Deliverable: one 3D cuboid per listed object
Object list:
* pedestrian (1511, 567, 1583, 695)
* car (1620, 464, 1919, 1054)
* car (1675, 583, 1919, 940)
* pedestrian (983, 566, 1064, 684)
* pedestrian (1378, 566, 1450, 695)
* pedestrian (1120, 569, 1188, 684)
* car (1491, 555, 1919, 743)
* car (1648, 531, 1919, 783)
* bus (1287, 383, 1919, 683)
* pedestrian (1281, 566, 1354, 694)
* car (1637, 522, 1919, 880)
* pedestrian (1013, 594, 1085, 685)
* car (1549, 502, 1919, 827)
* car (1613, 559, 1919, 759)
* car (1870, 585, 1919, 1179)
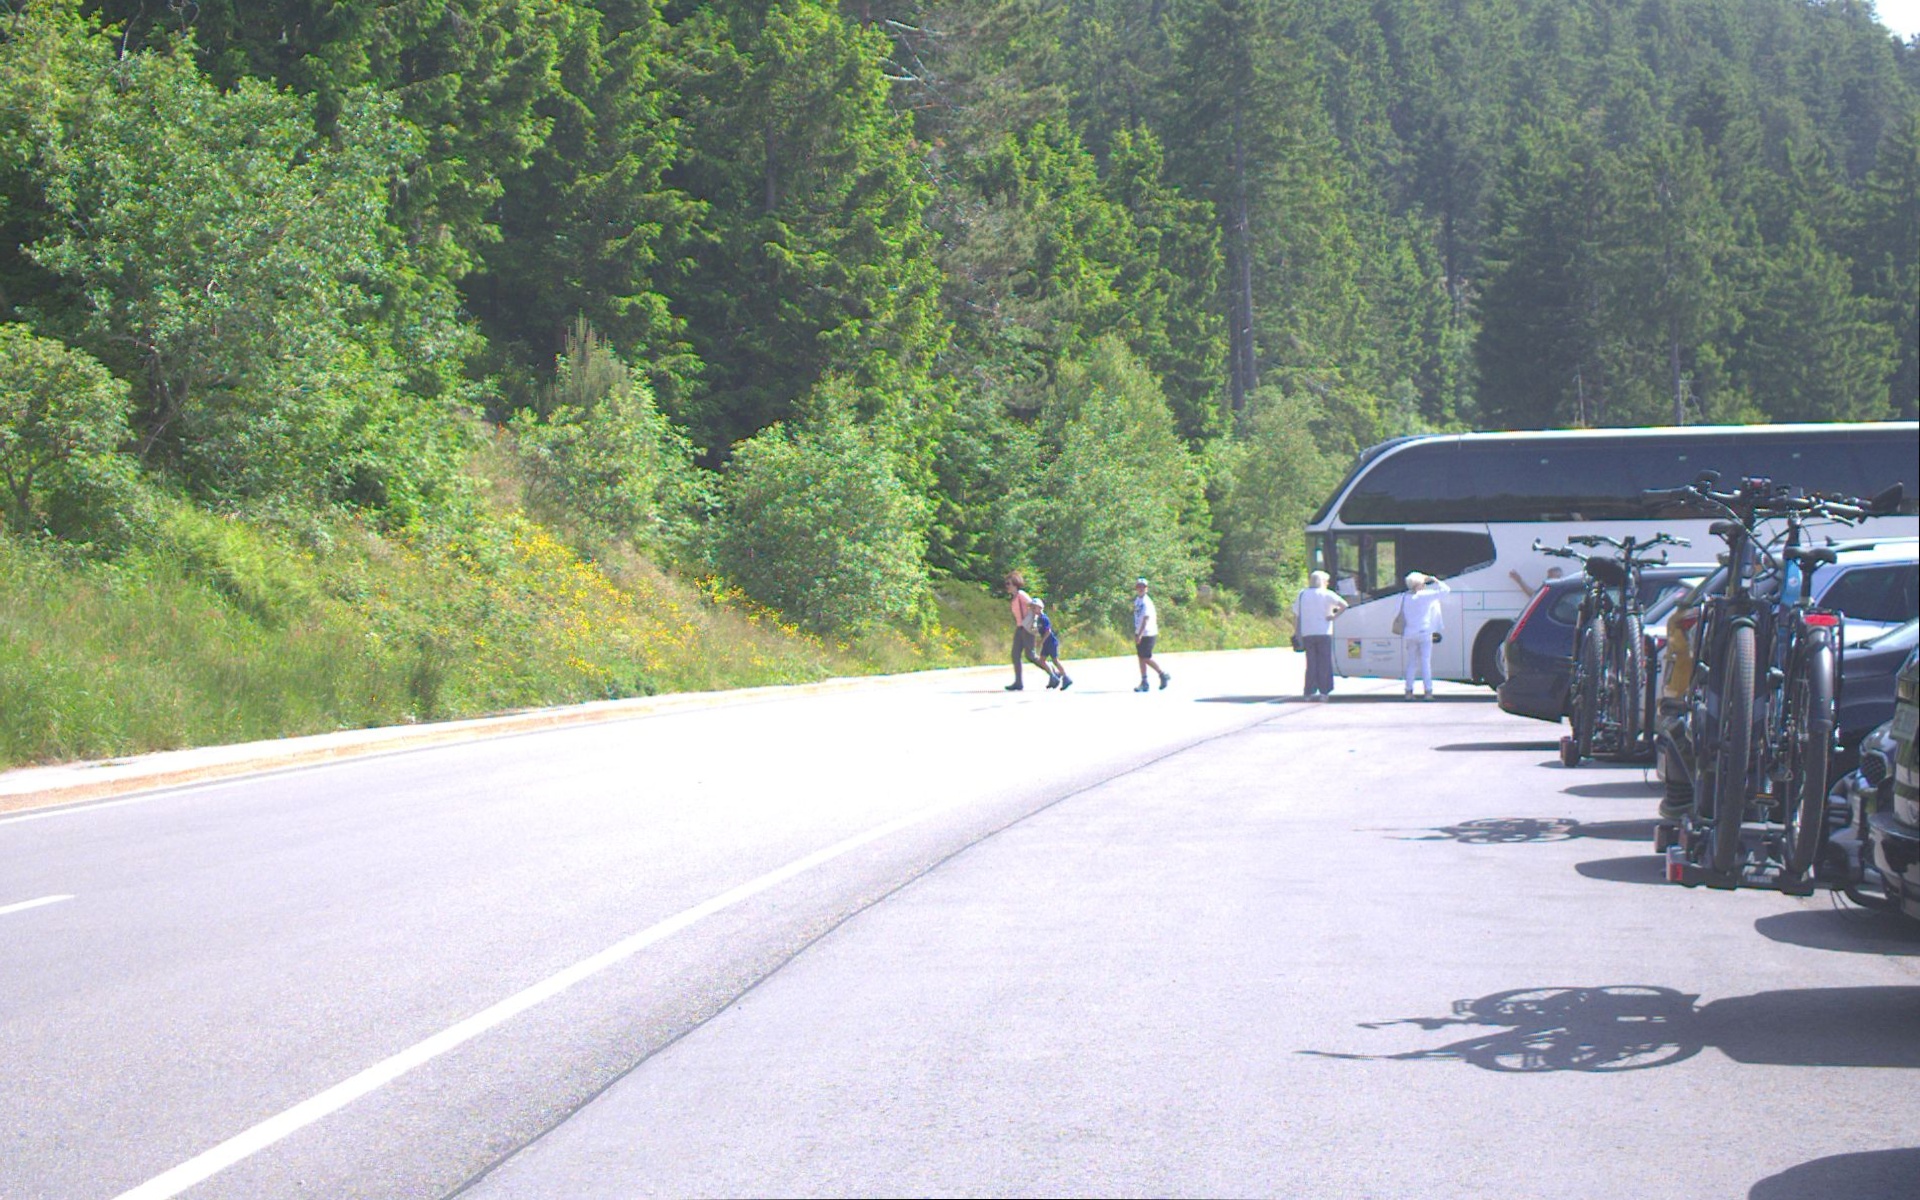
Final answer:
[{"bbox_3d":[7.376,0.383,43.165,0.770,1.579,0.772,-2,0,15],"label":"pedestrian"},{"bbox_3d":[4.583,0.407,10.519,4.951,1.690,1.944,-1,1,9],"label":"car"},{"bbox_3d":[5.001,0.539,13.215,4.245,1.264,1.837,-2,0,7],"label":"car"},{"bbox_3d":[0.930,0.362,50.395,0.853,1.677,0.870,-2,0,-23],"label":"pedestrian"},{"bbox_3d":[5.693,0.377,43.121,0.771,1.579,0.772,-2,0,14],"label":"pedestrian"},{"bbox_3d":[2.747,0.369,48.742,0.853,1.579,0.818,-2,0,-1],"label":"pedestrian"},{"bbox_3d":[6.564,0.390,29.148,3.988,1.444,1.860,-2,0,7],"label":"car"},{"bbox_3d":[6.588,0.318,22.365,3.988,1.548,1.659,-2,0,7],"label":"car"},{"bbox_3d":[10.973,-0.890,43.925,13.104,3.520,3.041,-2,0,18],"label":"bus"},{"bbox_3d":[4.512,0.374,43.373,0.771,1.579,0.772,-2,0,14],"label":"pedestrian"},{"bbox_3d":[5.360,0.389,15.825,4.245,1.548,1.837,-2,0,7],"label":"car"},{"bbox_3d":[1.284,0.563,49.608,0.733,1.275,0.783,-2,0,-26],"label":"pedestrian"},{"bbox_3d":[5.821,0.280,18.694,5.035,1.645,2.047,-2,0,7],"label":"car"},{"bbox_3d":[7.011,0.403,25.864,3.988,1.393,1.620,-2,0,7],"label":"car"},{"bbox_3d":[4.265,0.689,7.532,4.081,1.372,1.702,1,0,1],"label":"car"}]
